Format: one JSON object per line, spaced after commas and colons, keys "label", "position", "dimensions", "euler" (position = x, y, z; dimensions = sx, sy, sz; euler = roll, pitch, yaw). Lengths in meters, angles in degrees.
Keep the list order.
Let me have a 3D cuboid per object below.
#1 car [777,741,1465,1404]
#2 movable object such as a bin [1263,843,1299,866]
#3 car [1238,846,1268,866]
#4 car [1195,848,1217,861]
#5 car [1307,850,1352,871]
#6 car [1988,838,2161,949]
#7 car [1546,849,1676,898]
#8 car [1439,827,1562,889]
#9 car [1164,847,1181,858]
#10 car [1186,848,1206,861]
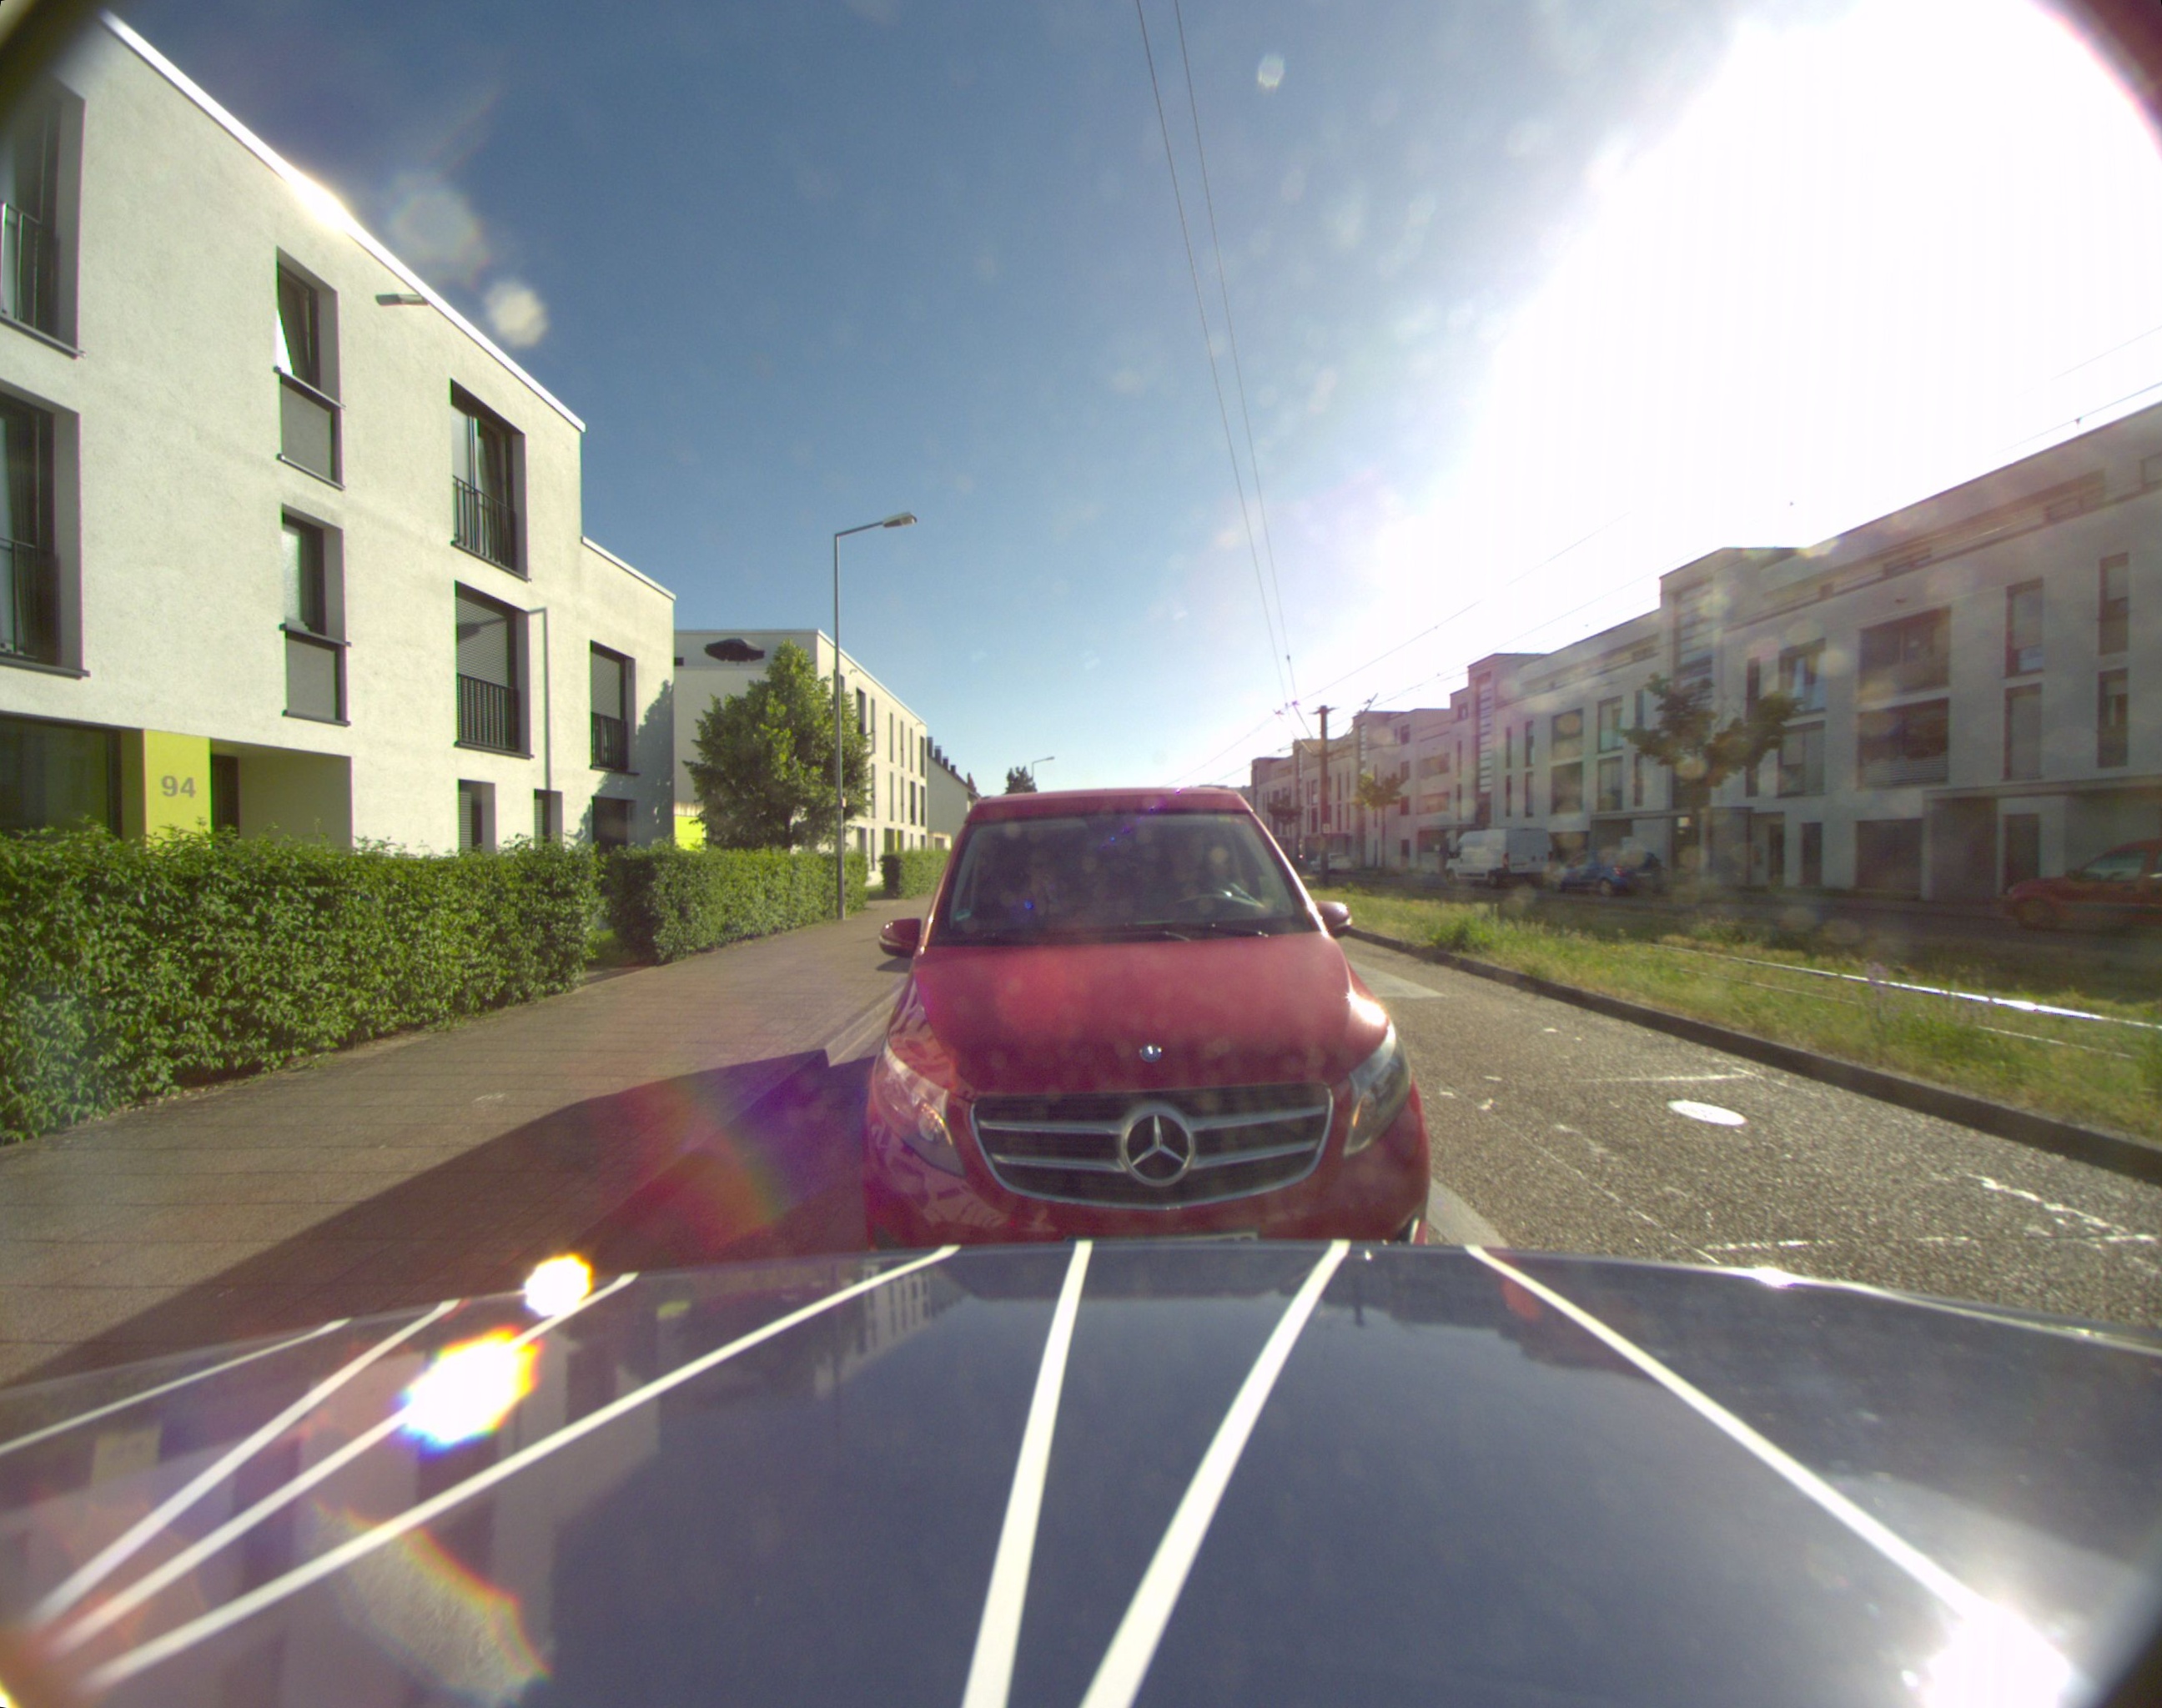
{"label": "car", "position": [0.178, 0.655, 4.871], "dimensions": [1.979, 1.922, 5.205], "euler": [-2, 0, 1]}
{"label": "movable object such as a bin", "position": [17.608, 0.017, 67.086], "dimensions": [1.766, 1.926, 4.155], "euler": [-2, 0, -4]}
{"label": "car", "position": [16.776, 0.195, 74.255], "dimensions": [1.766, 1.859, 4.155], "euler": [-2, 0, -4]}
{"label": "car", "position": [15.431, 0.041, 93.939], "dimensions": [1.766, 1.590, 4.155], "euler": [-2, 0, -4]}
{"label": "car", "position": [17.530, 0.427, 53.789], "dimensions": [1.521, 1.424, 4.155], "euler": [-2, 0, -4]}
{"label": "car", "position": [18.540, 0.630, 12.839], "dimensions": [1.885, 1.785, 3.837], "euler": [-2, 0, 1]}
{"label": "car", "position": [18.302, 0.636, 26.483], "dimensions": [1.829, 1.528, 3.842], "euler": [-2, 0, 0]}
{"label": "car", "position": [18.189, 0.137, 33.309], "dimensions": [2.146, 2.430, 5.588], "euler": [-2, 0, -1]}
{"label": "car", "position": [11.698, -0.184, 97.303], "dimensions": [1.792, 1.410, 4.000], "euler": [1, 0, 1]}
{"label": "car", "position": [15.044, 0.037, 99.574], "dimensions": [1.766, 1.590, 4.155], "euler": [-2, 0, -4]}
